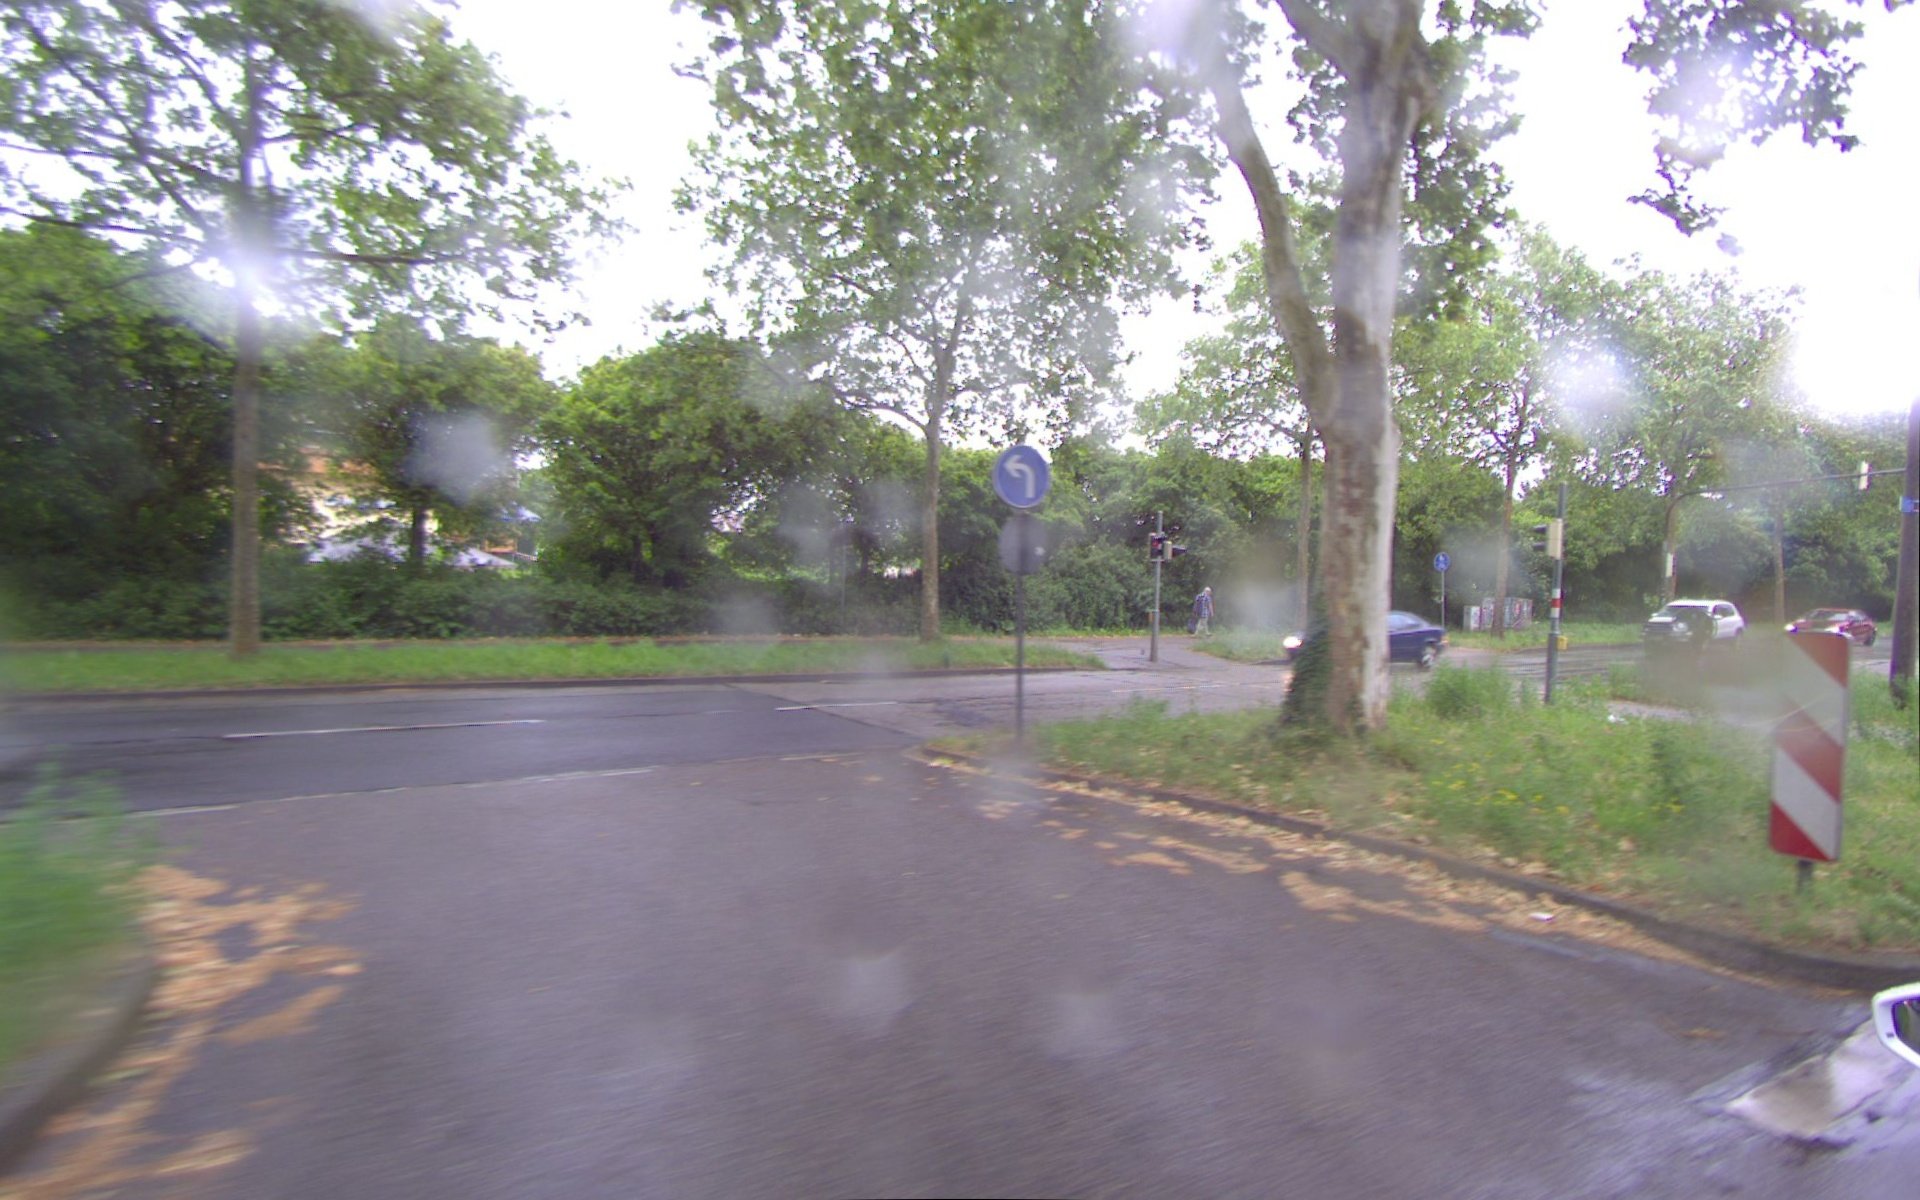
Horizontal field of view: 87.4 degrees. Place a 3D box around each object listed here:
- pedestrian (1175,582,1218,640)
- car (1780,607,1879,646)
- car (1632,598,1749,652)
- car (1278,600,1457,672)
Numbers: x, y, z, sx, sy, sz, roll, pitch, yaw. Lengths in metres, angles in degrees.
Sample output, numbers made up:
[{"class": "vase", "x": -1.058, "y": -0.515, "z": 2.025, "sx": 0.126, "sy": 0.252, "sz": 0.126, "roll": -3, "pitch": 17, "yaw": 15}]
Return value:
[{"class": "pedestrian", "x": 7.168, "y": 0.328, "z": 30.433, "sx": 0.890, "sy": 1.696, "sz": 0.826, "roll": 1, "pitch": 1, "yaw": -32}, {"class": "car", "x": 34.416, "y": 1.046, "z": 39.731, "sx": 4.395, "sy": 1.427, "sz": 1.733, "roll": 1, "pitch": 1, "yaw": -32}, {"class": "car", "x": 24.374, "y": 0.815, "z": 33.469, "sx": 4.398, "sy": 1.653, "sz": 1.732, "roll": 1, "pitch": 1, "yaw": -34}, {"class": "car", "x": 9.616, "y": 0.775, "z": 23.619, "sx": 4.397, "sy": 1.458, "sz": 1.732, "roll": -1, "pitch": 2, "yaw": -34}]
